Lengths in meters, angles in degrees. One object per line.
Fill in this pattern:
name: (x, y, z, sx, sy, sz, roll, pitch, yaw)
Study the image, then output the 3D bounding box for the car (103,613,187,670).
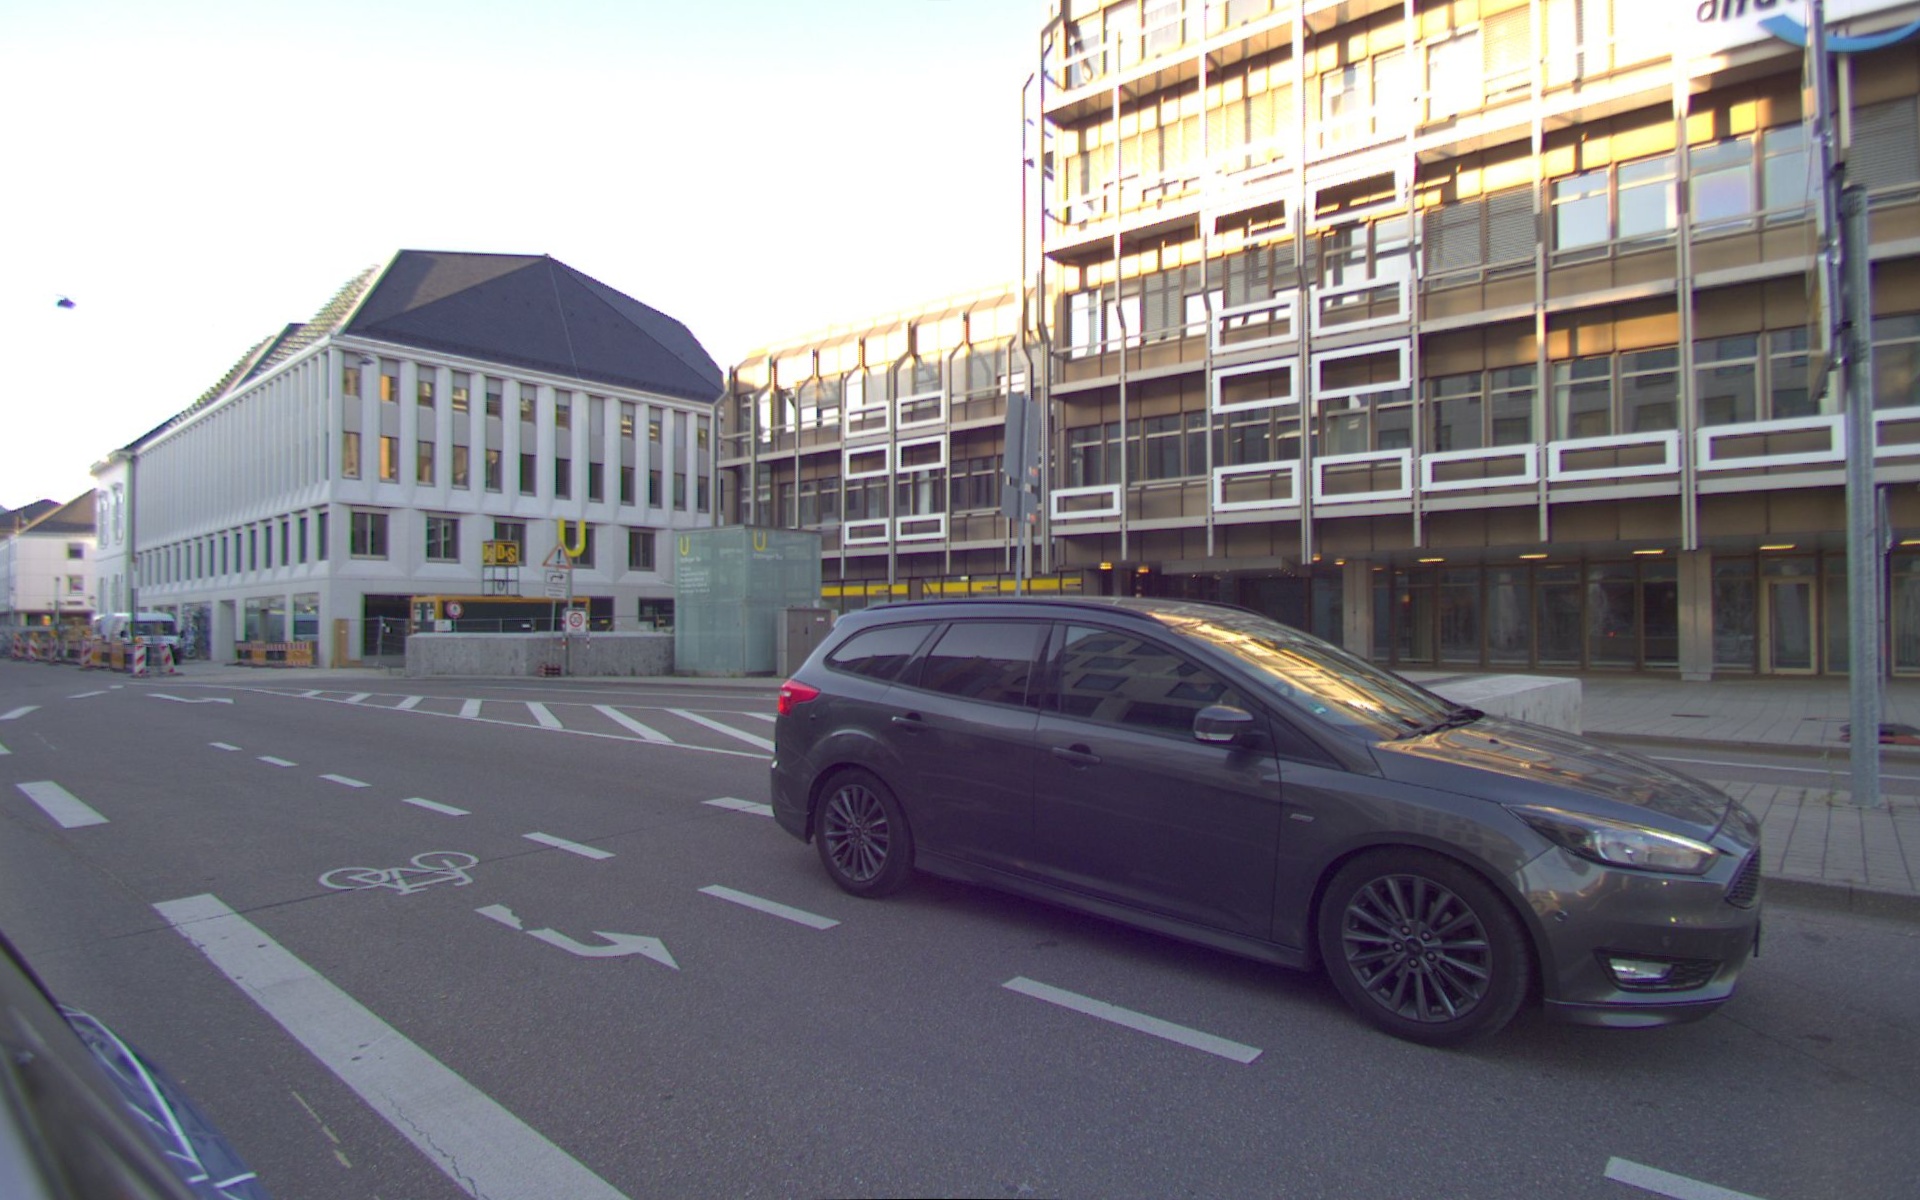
car: (-38.838, 1.954, 48.164, 6.047, 2.575, 2.114, -2, -3, 41)

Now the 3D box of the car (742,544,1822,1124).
car: (1.065, 0.643, 4.673, 4.377, 1.473, 1.740, -2, -1, 40)

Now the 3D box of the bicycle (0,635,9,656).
bicycle: (-92.380, 4.325, 95.598, 3.646, 2.029, 1.024, 0, -2, -10)
